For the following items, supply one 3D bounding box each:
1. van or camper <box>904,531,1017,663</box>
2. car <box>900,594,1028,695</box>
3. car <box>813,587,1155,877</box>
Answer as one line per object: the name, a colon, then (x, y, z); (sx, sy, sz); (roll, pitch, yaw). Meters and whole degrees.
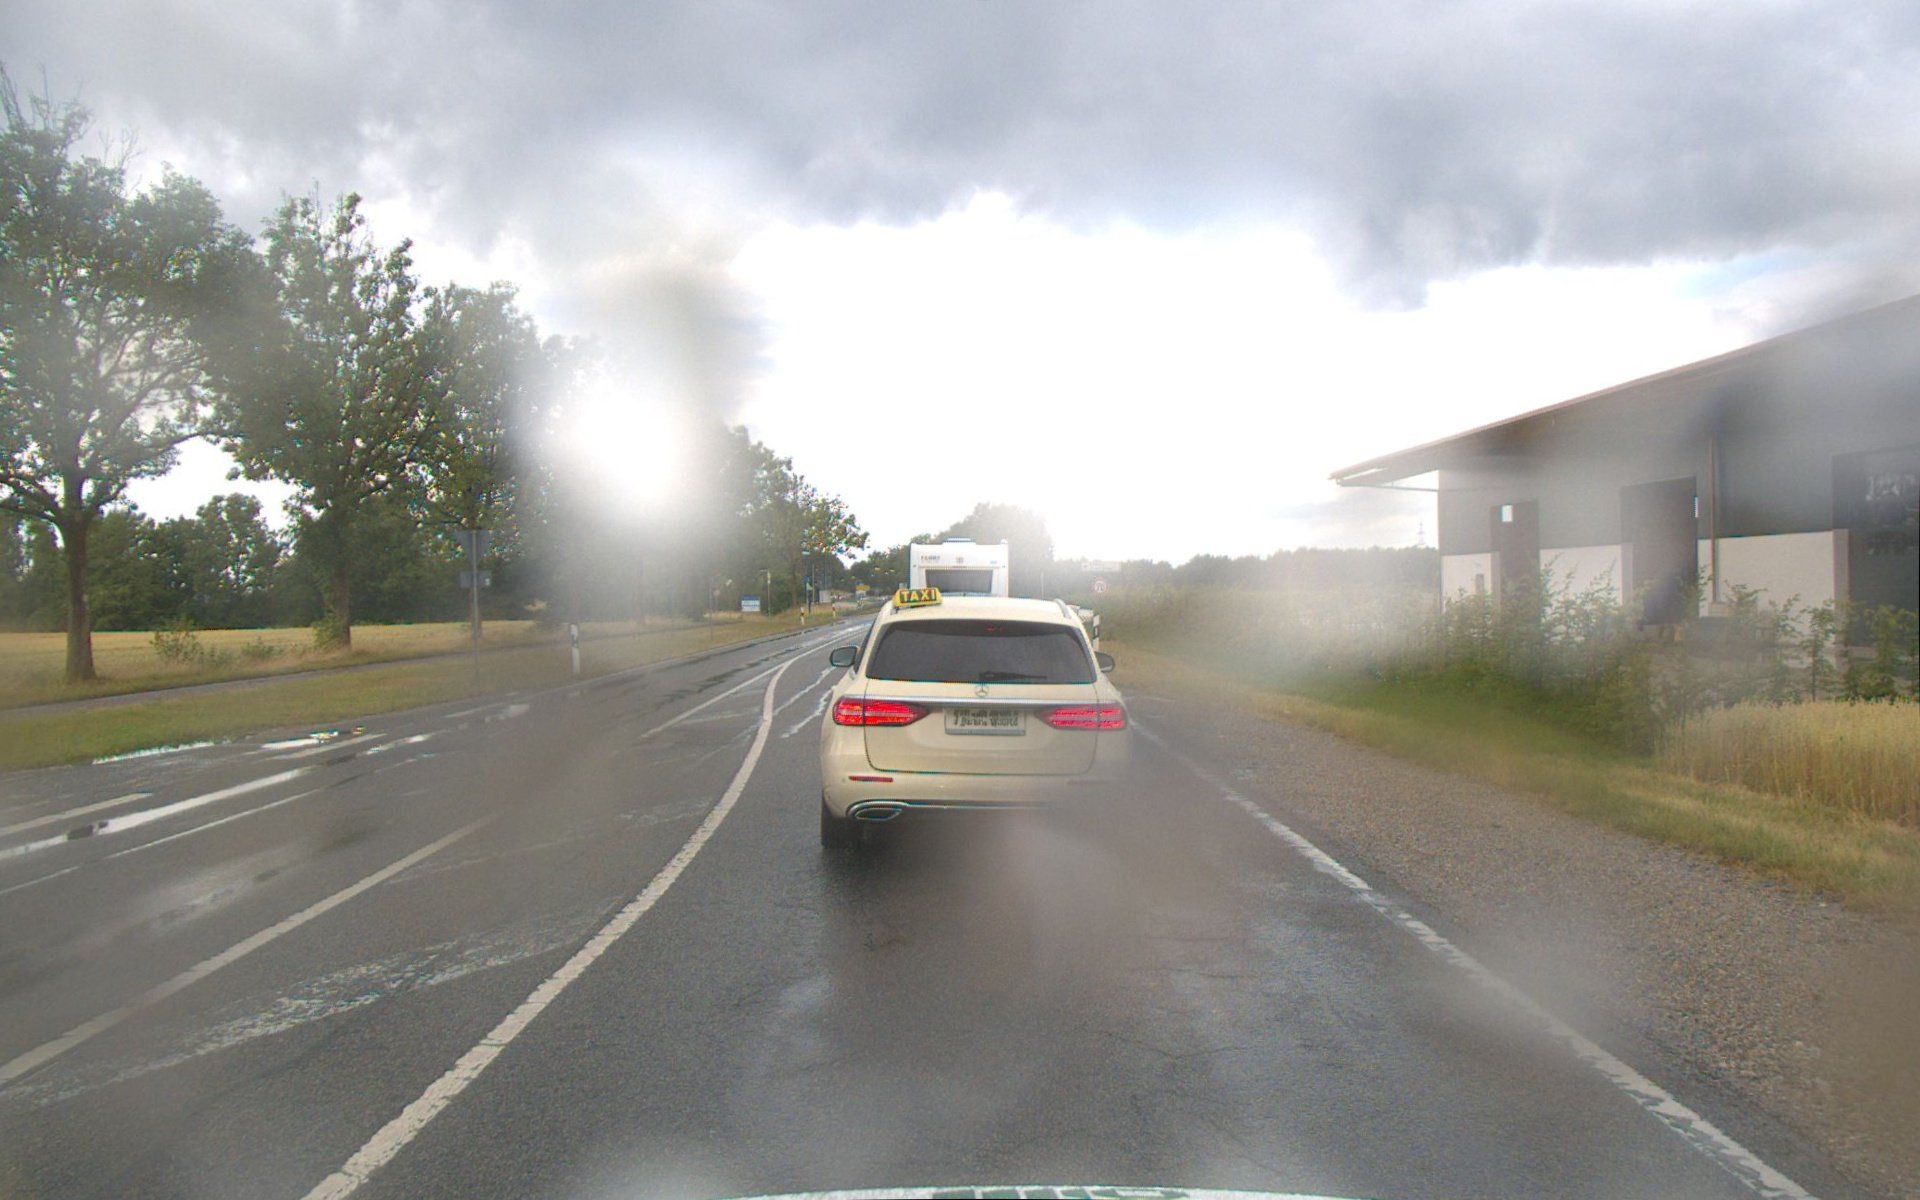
van or camper: (0.028, -0.080, 39.929); (2.446, 2.880, 5.934); (-2, 0, 0)
car: (0.039, 0.638, 25.885); (1.856, 1.454, 3.927); (0, 0, -1)
car: (0.120, 0.678, 10.599); (1.760, 1.490, 4.030); (1, 0, 0)
